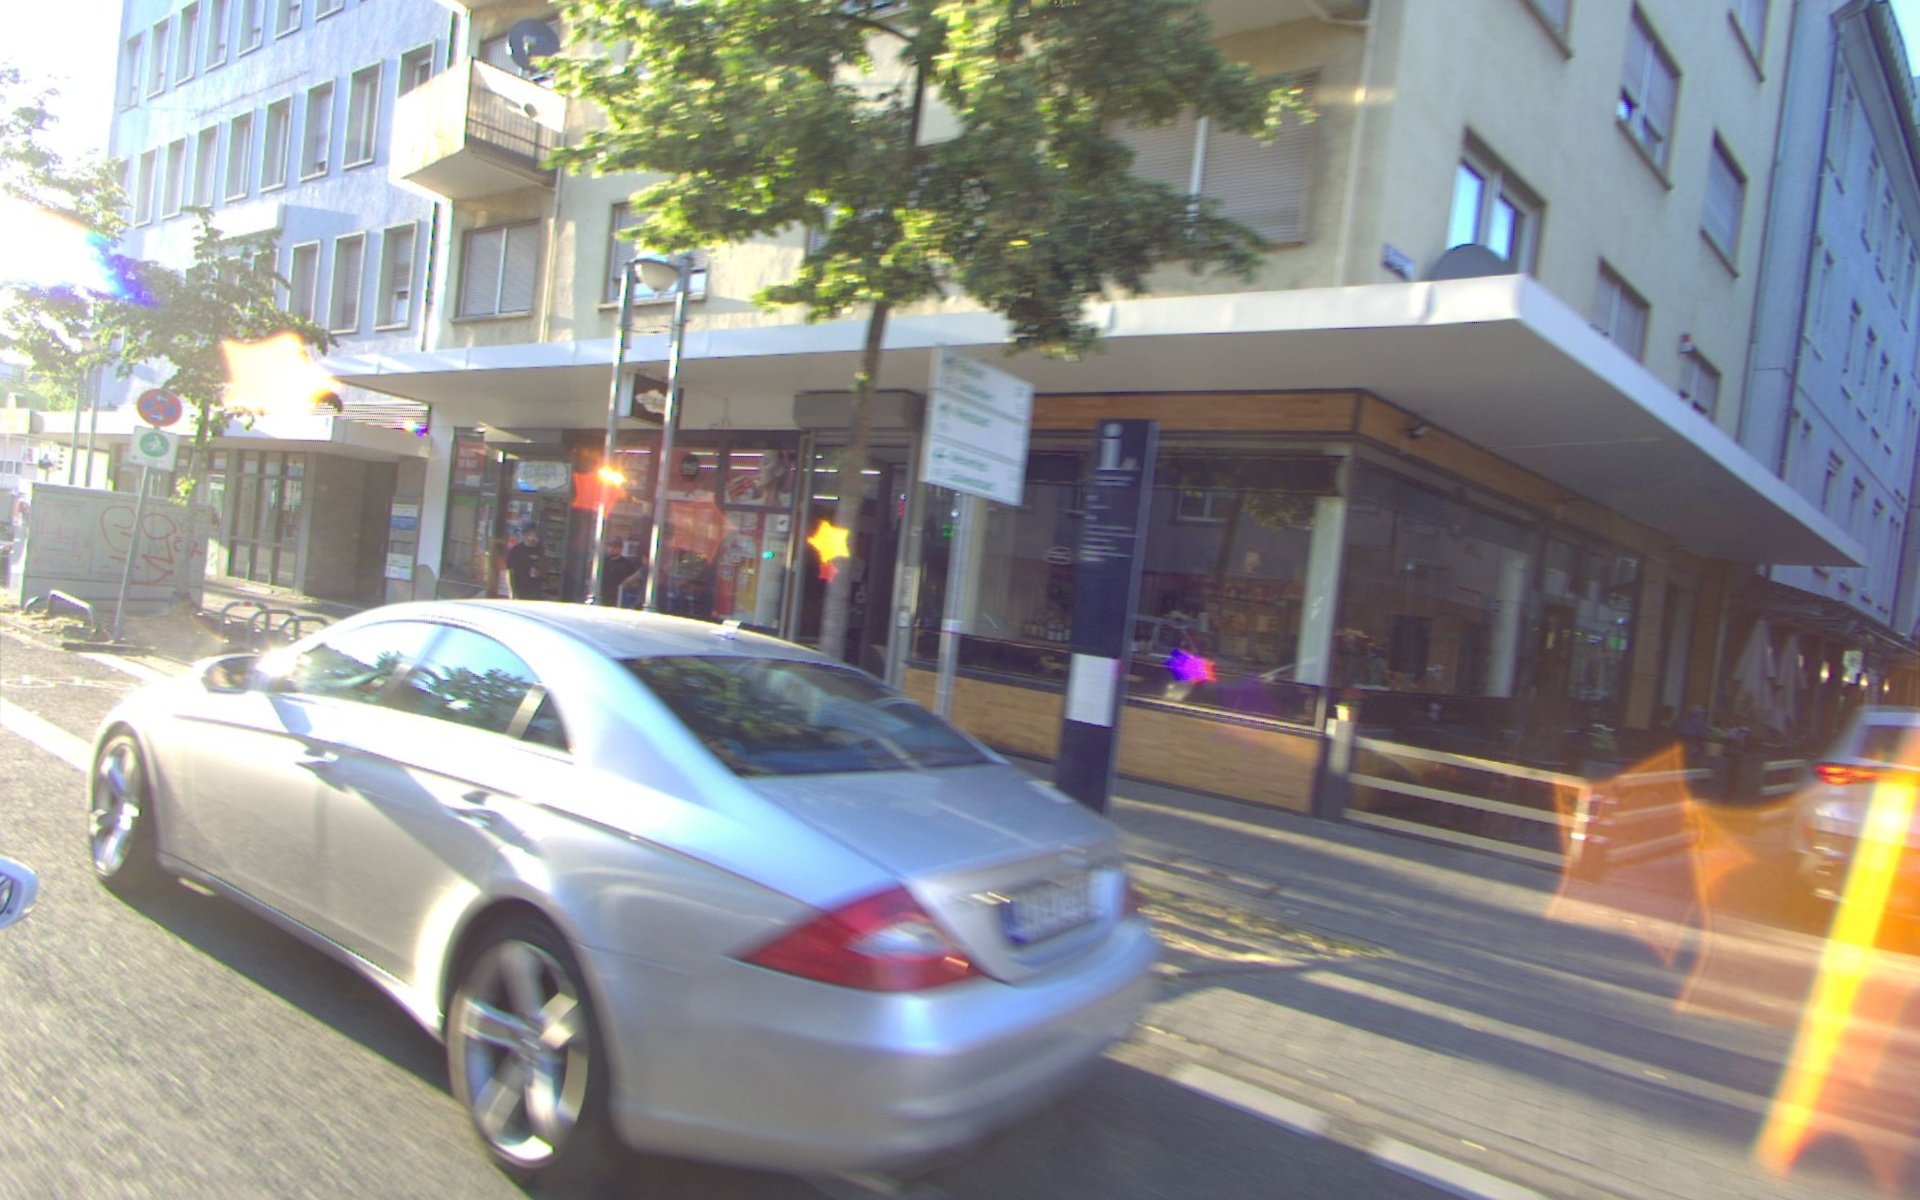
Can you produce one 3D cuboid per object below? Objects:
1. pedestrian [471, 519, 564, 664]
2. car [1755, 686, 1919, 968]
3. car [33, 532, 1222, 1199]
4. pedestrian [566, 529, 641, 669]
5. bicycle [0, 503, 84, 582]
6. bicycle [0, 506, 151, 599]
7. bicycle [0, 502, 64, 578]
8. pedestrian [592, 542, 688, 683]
[{"bbox_3d":[-5.944,-0.102,13.531,0.640,1.829,0.708,8,0,34],"label":"pedestrian"},{"bbox_3d":[7.462,1.594,7.635,1.831,1.632,4.160,7,1,42],"label":"car"},{"bbox_3d":[-1.544,0.714,3.844,4.478,1.394,1.803,7,-1,33],"label":"car"},{"bbox_3d":[-4.847,-0.003,13.698,0.518,1.804,0.582,8,0,14],"label":"pedestrian"},{"bbox_3d":[-16.083,-1.013,16.921,0.462,1.219,1.912,7,1,35],"label":"bicycle"},{"bbox_3d":[-13.435,-0.695,15.123,0.461,1.219,1.917,7,1,23],"label":"bicycle"},{"bbox_3d":[-16.563,-1.080,17.070,0.462,1.219,1.912,7,1,35],"label":"bicycle"},{"bbox_3d":[-4.102,0.161,12.918,0.765,1.680,0.642,8,0,34],"label":"pedestrian"}]
